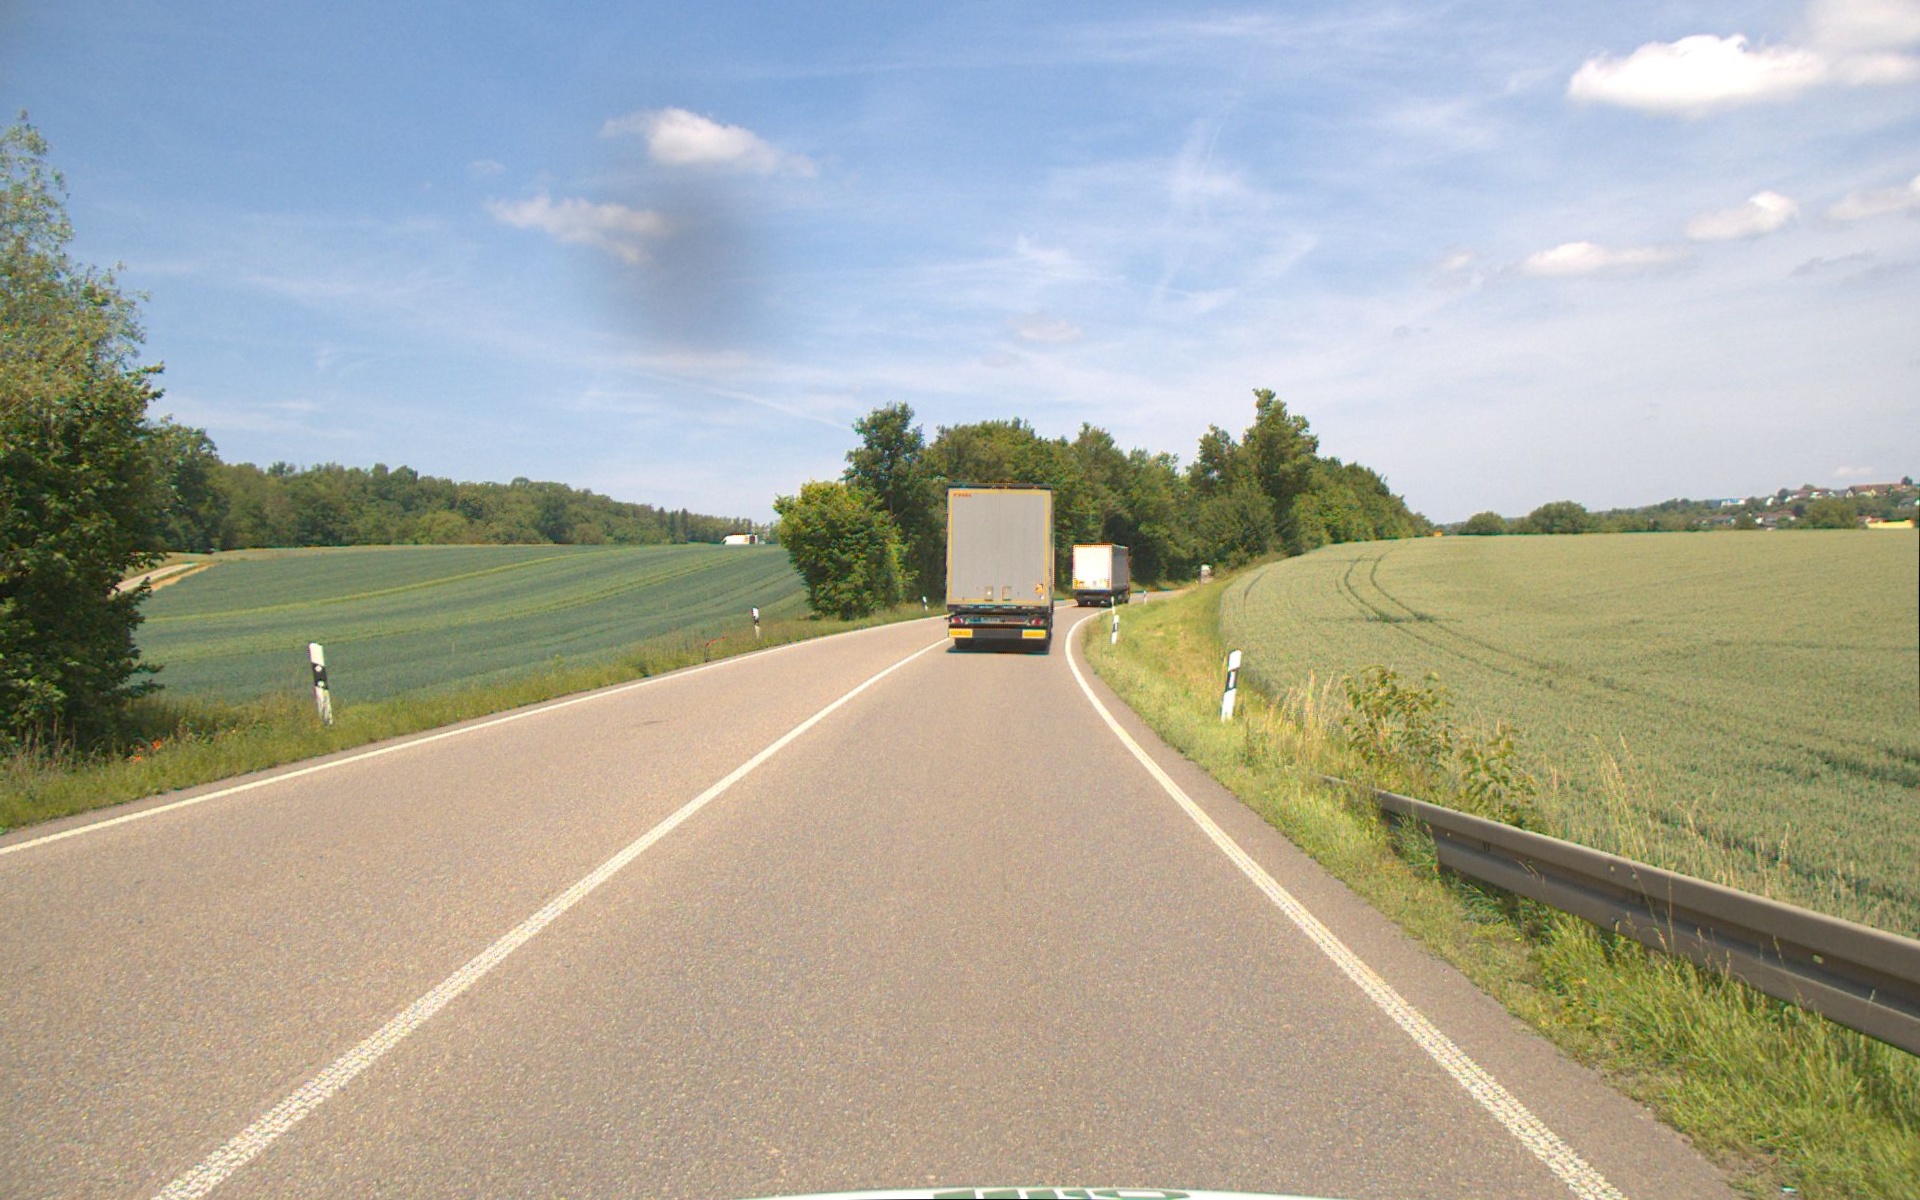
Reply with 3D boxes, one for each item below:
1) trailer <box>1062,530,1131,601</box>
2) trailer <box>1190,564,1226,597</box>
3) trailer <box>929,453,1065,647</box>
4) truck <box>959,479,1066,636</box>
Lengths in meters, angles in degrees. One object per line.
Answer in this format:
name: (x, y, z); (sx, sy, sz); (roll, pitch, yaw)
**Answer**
trailer: (9.417, -2.469, 112.411); (3.293, 4.391, 13.881); (-1, 3, 10)
trailer: (29.582, -2.256, 197.229); (2.763, 3.367, 11.524); (-1, -2, 16)
trailer: (1.300, -1.221, 45.923); (3.052, 4.578, 13.894); (0, 0, 4)
truck: (1.747, -1.254, 51.691); (3.053, 4.573, 6.815); (0, 0, 4)
